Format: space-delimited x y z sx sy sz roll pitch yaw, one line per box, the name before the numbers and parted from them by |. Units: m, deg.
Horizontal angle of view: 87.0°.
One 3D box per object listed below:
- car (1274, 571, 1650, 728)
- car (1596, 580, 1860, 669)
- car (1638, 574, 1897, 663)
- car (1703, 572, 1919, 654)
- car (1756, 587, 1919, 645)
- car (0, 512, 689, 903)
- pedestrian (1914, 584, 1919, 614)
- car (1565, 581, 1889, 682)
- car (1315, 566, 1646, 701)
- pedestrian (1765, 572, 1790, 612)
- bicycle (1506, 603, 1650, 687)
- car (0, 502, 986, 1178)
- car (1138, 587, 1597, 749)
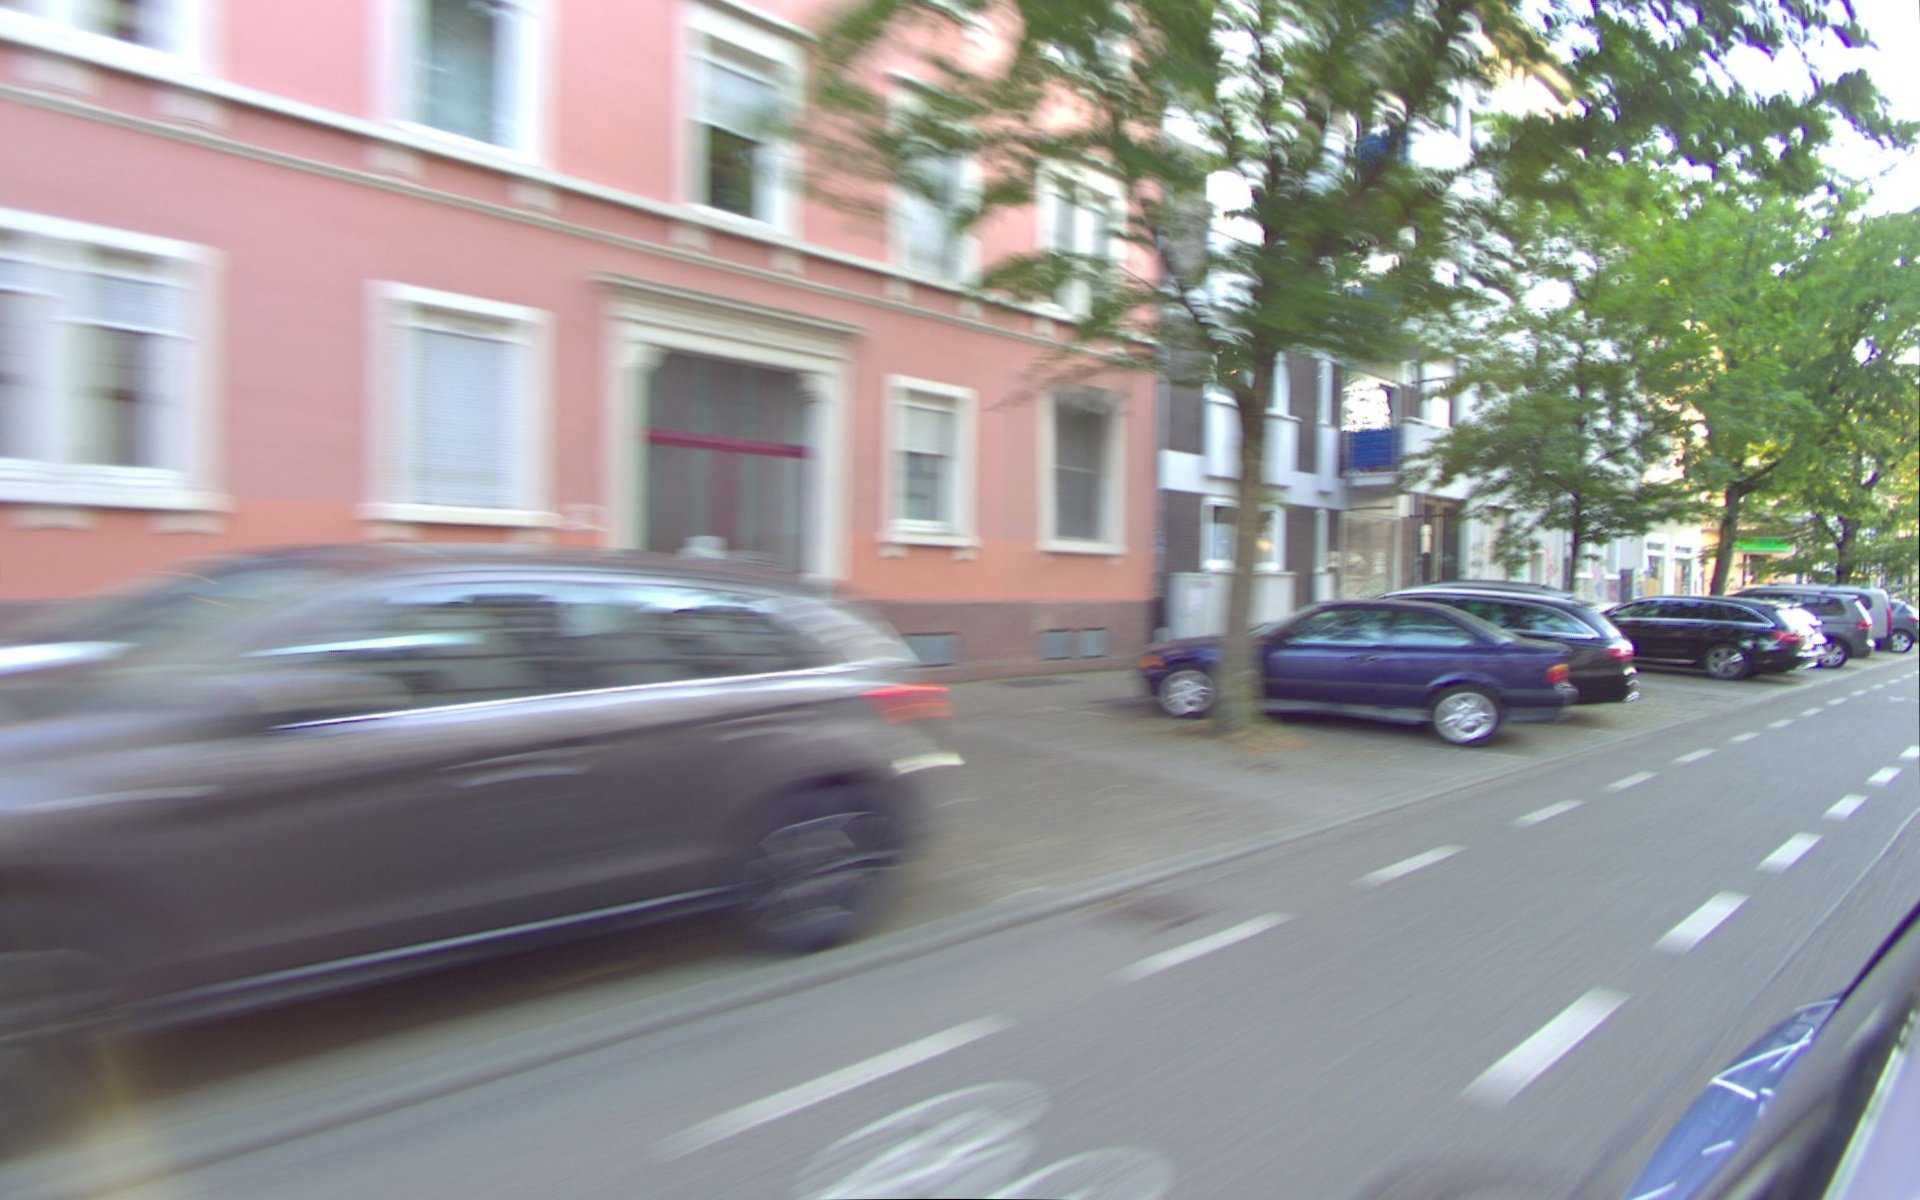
car | 6.176 0.507 12.673 3.945 1.573 1.700 3 1 33
car | 14.994 0.413 20.078 3.971 1.482 1.700 3 2 33
car | 17.815 0.346 22.618 4.154 1.717 1.829 3 2 28
car | 21.838 0.278 26.145 3.965 1.838 1.806 3 2 29
car | 26.049 0.436 29.691 3.967 1.559 1.760 1 1 31
car | -3.749 0.410 5.563 3.951 1.604 1.883 0 2 -41
pedestrian | 57.313 -0.027 60.326 0.633 1.774 0.499 0 2 -36
car | 13.677 0.479 18.278 1.690 1.482 4.385 1 2 -41
car | 7.347 0.394 14.576 3.965 1.613 1.702 3 1 29
pedestrian | 38.343 -0.389 47.490 0.600 1.855 0.561 3 0 -4
bicycle | 9.587 0.669 15.738 1.794 1.158 0.721 3 2 42
car | -2.097 0.517 3.852 4.188 1.637 1.884 0 4 -41
car | 4.163 0.596 10.791 4.217 1.405 1.607 1 1 25
